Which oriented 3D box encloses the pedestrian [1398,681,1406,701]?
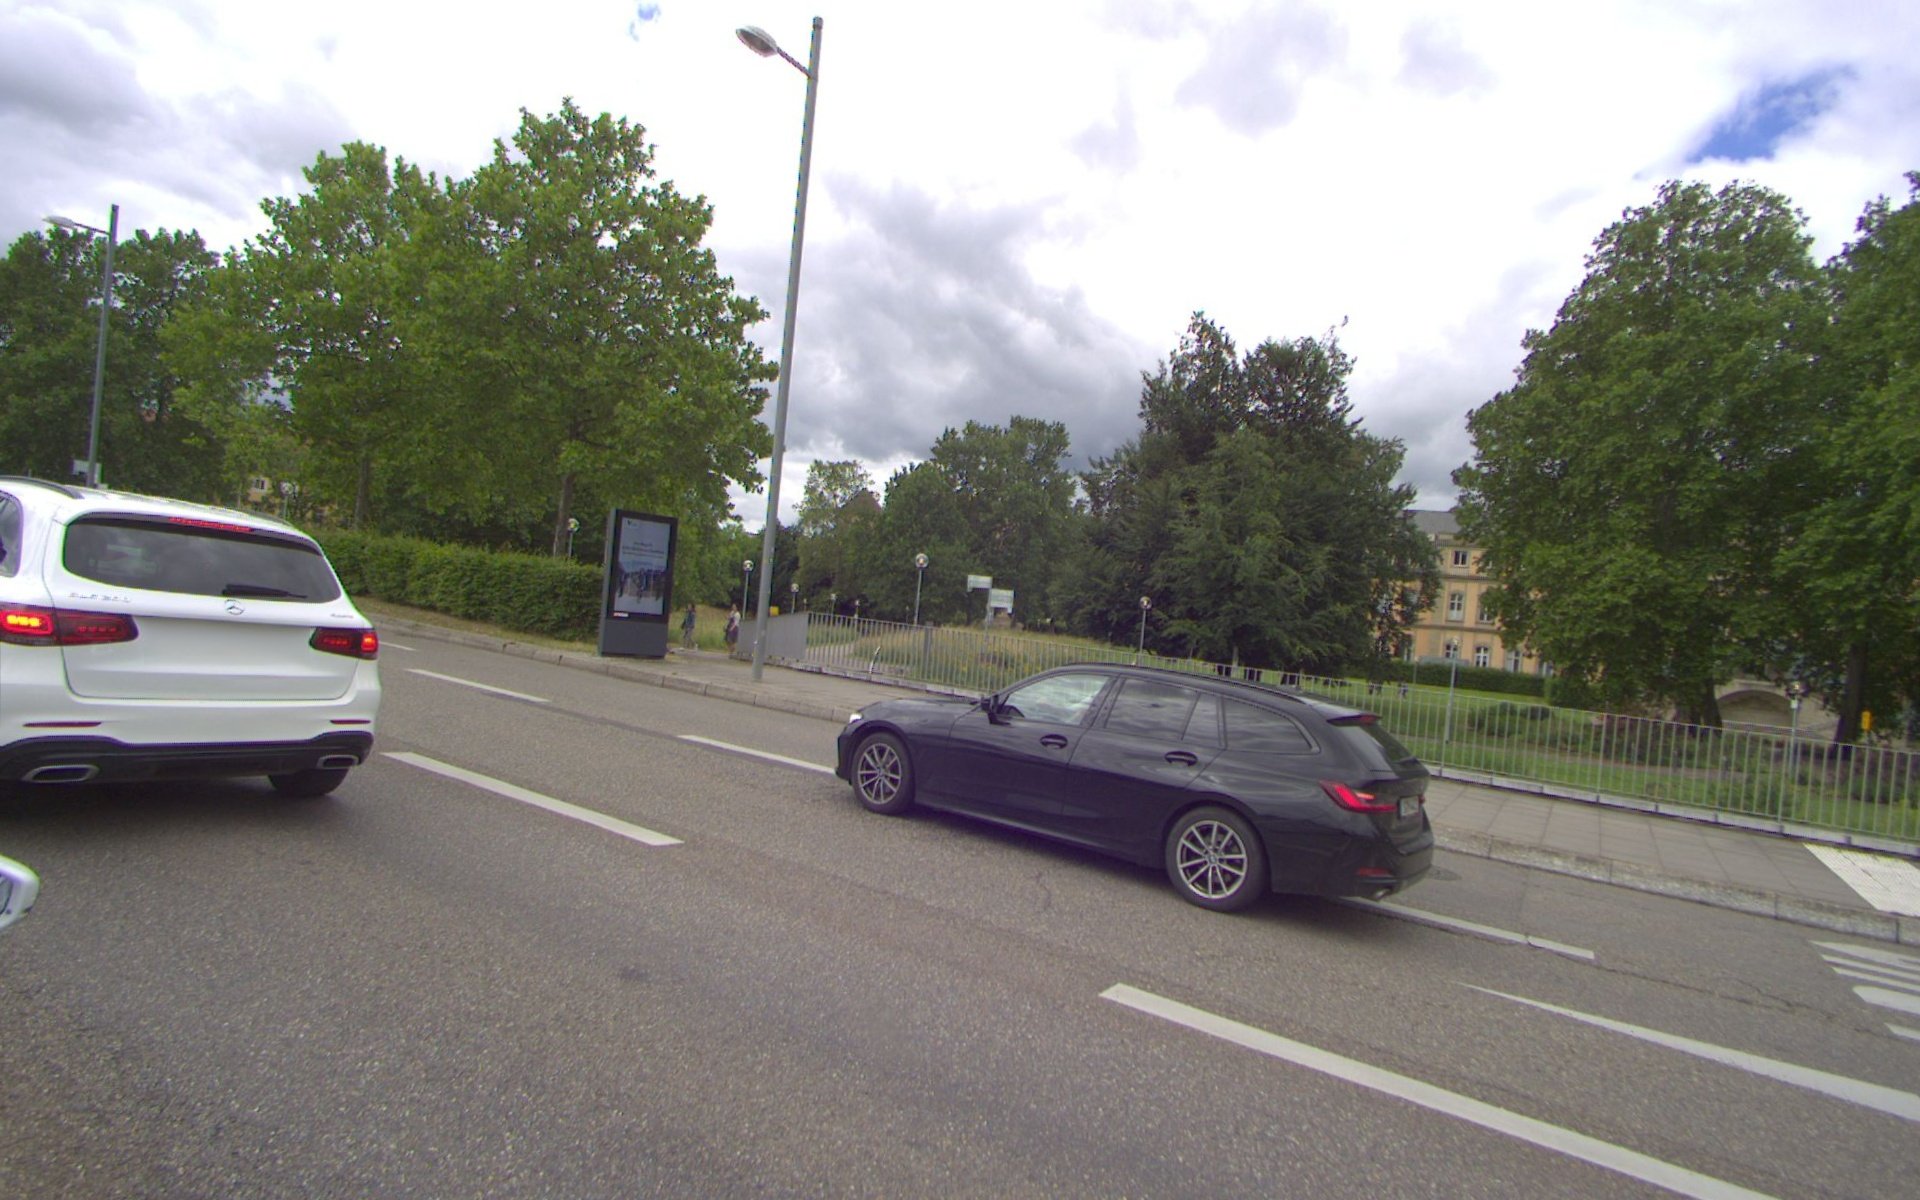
[{"bbox_3d":[39.795,8.211,90.526,0.460,1.725,0.405,5,-2,32],"label":"pedestrian"}]

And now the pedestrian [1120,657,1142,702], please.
[{"bbox_3d":[6.436,2.988,37.824,0.645,1.619,0.684,6,-2,13],"label":"pedestrian"}]

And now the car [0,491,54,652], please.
[{"bbox_3d":[-11.662,-0.527,10.628,4.417,1.569,1.929,6,-2,33],"label":"car"}]

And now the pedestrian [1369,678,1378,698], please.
[{"bbox_3d":[37.486,7.950,91.133,0.402,1.756,0.464,8,-2,-32],"label":"pedestrian"}]

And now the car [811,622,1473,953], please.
[{"bbox_3d":[1.188,1.160,7.639,4.460,1.476,1.932,5,-3,38],"label":"car"}]

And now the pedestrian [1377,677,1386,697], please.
[{"bbox_3d":[38.319,7.913,91.430,0.403,1.756,0.463,8,-2,-38],"label":"pedestrian"}]

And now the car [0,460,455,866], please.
[{"bbox_3d":[-5.300,0.112,6.078,4.416,1.673,1.929,7,-1,33],"label":"car"}]

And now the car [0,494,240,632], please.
[{"bbox_3d":[-13.387,-0.619,15.659,4.234,1.659,1.996,7,-1,32],"label":"car"}]
